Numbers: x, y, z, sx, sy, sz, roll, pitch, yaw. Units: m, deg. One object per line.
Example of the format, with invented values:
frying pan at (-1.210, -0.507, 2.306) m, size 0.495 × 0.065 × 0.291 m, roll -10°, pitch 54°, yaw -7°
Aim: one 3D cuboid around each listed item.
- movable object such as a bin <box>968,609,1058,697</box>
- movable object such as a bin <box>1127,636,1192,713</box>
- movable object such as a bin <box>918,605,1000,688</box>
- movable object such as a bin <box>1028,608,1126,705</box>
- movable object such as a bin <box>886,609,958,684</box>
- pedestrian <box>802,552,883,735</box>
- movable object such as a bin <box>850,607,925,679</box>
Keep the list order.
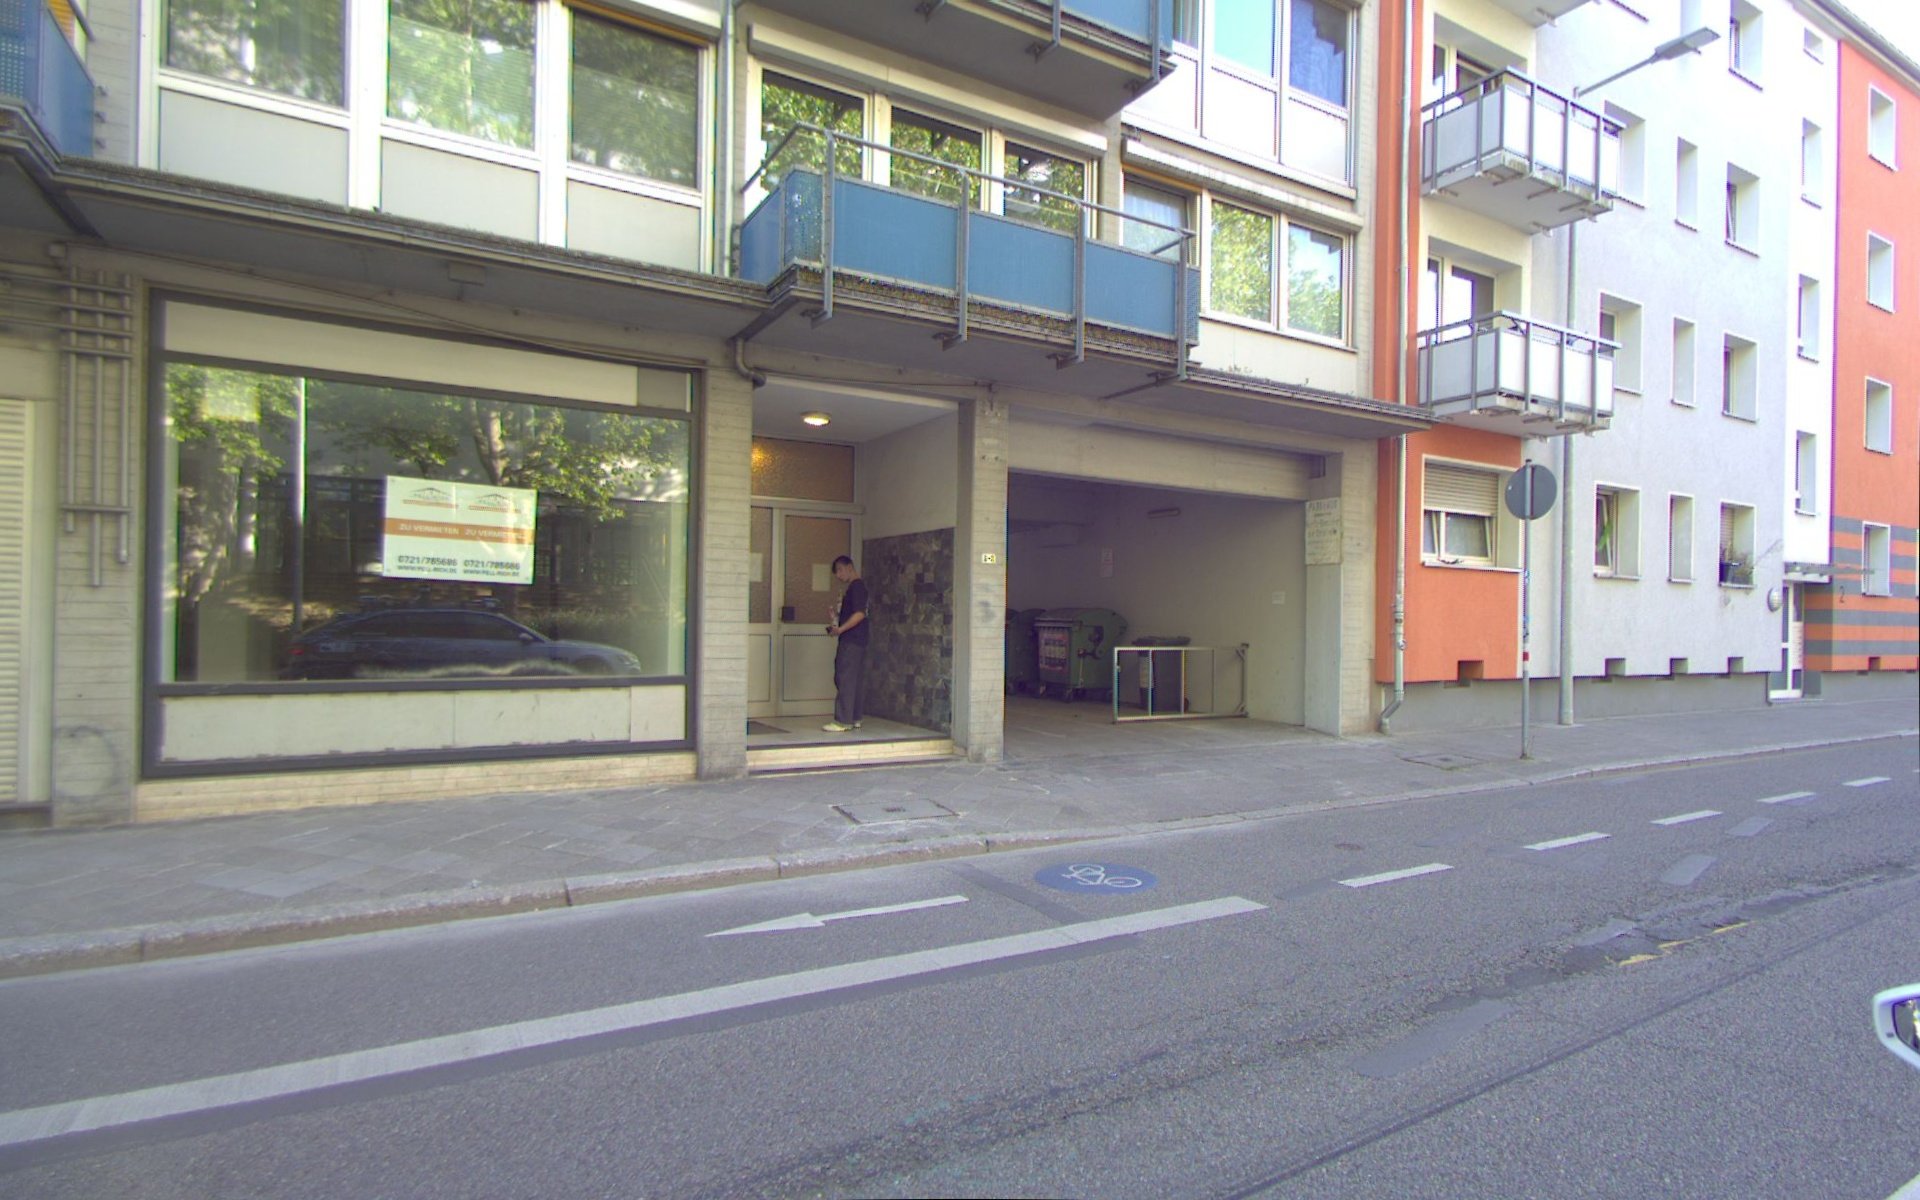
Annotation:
movable object such as a bin at (0.894, 0.879, 17.165) m, size 1.011 × 1.409 × 1.319 m, roll 1°, pitch 0°, yaw -27°
movable object such as a bin at (2.868, 1.058, 14.476) m, size 0.704 × 1.054 × 0.583 m, roll 1°, pitch 0°, yaw -30°
movable object such as a bin at (-0.036, 0.838, 18.678) m, size 1.011 × 1.462 × 1.318 m, roll 1°, pitch 0°, yaw -29°
movable object such as a bin at (1.819, 0.859, 15.835) m, size 1.009 × 1.438 × 1.321 m, roll 1°, pitch 0°, yaw -23°
movable object such as a bin at (-0.753, 0.891, 19.675) m, size 1.012 × 1.409 × 1.046 m, roll 1°, pitch 0°, yaw -31°
pedestrian at (-1.170, 0.419, 10.085) m, size 0.518 × 1.764 × 0.630 m, roll 1°, pitch 0°, yaw 27°
movable object such as a bin at (-1.498, 0.863, 20.659) m, size 1.014 × 1.409 × 1.264 m, roll 1°, pitch 0°, yaw -37°
